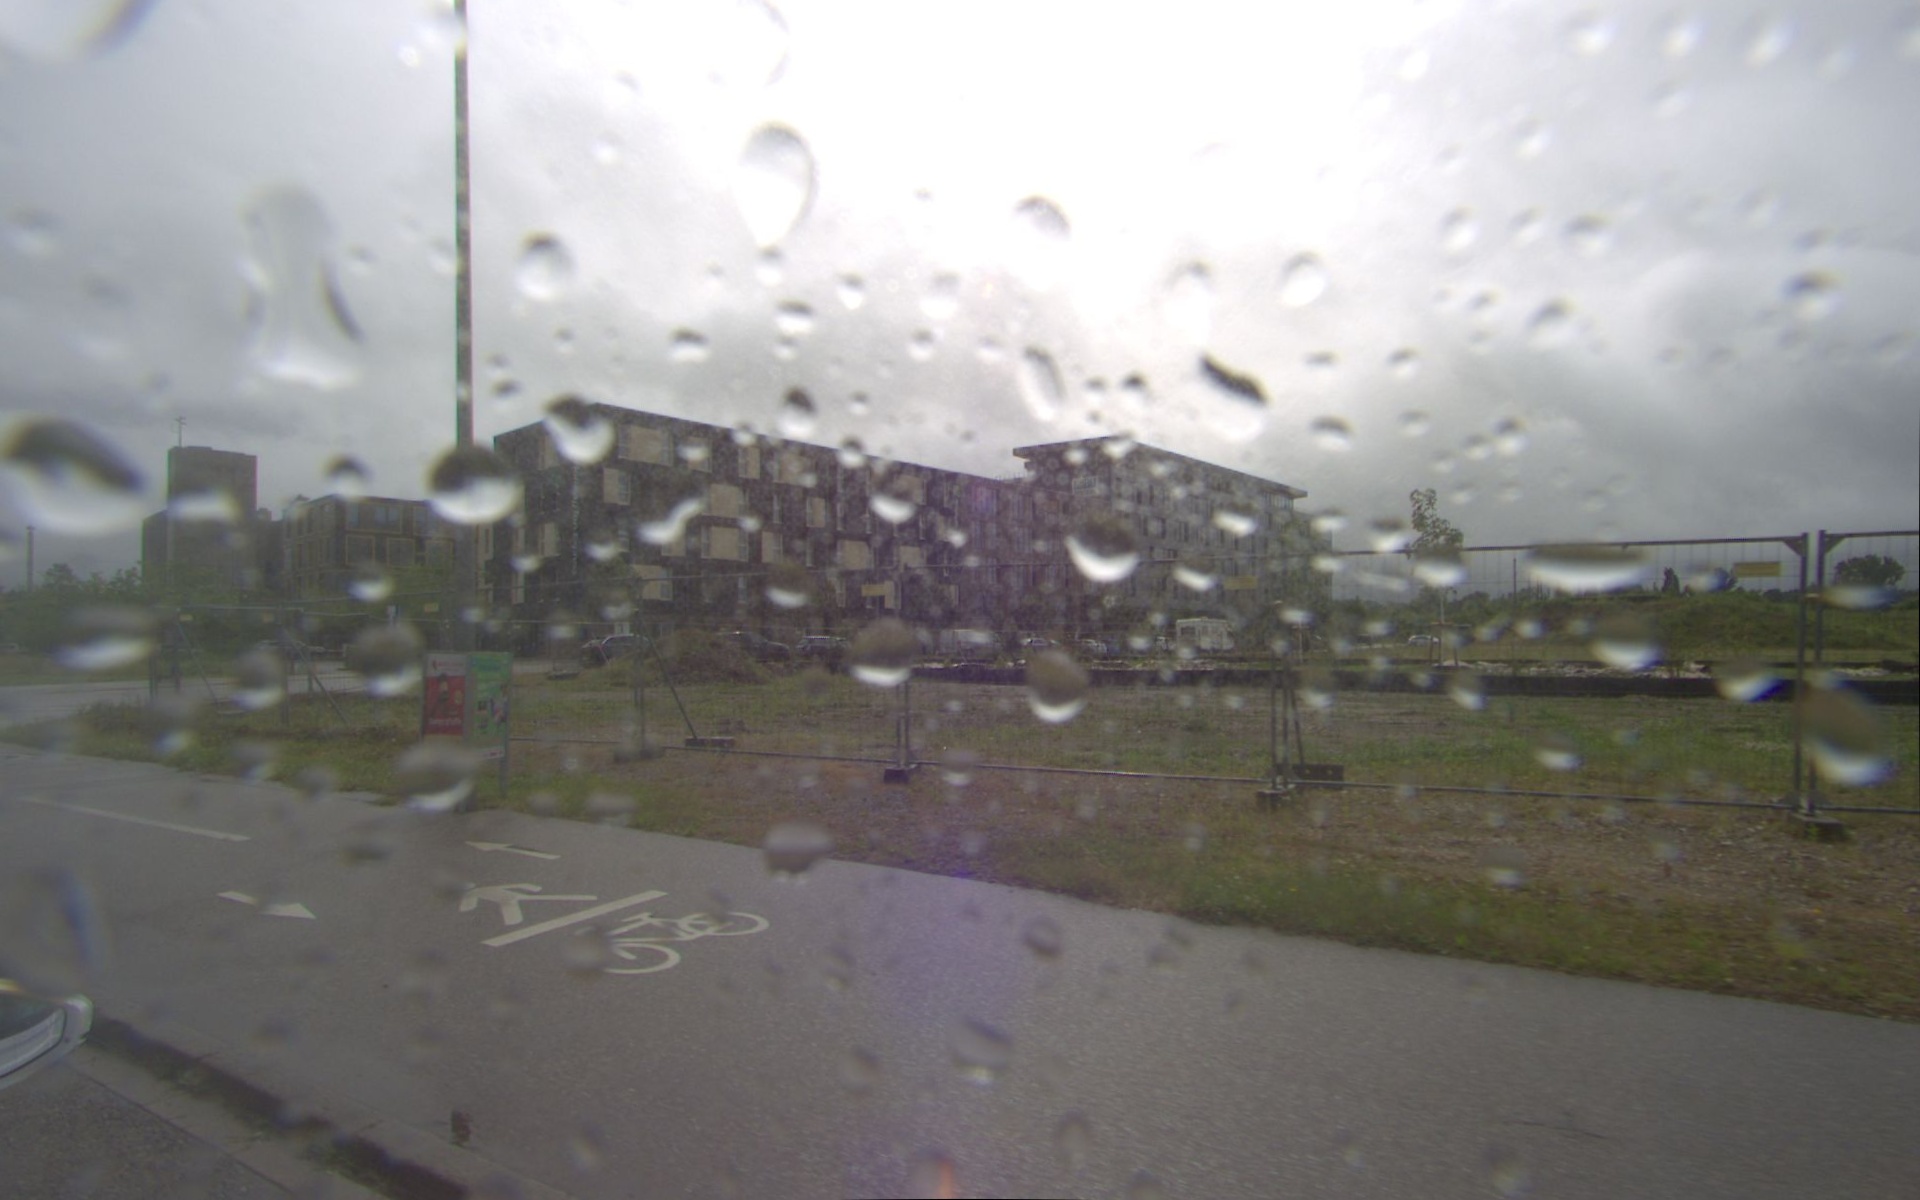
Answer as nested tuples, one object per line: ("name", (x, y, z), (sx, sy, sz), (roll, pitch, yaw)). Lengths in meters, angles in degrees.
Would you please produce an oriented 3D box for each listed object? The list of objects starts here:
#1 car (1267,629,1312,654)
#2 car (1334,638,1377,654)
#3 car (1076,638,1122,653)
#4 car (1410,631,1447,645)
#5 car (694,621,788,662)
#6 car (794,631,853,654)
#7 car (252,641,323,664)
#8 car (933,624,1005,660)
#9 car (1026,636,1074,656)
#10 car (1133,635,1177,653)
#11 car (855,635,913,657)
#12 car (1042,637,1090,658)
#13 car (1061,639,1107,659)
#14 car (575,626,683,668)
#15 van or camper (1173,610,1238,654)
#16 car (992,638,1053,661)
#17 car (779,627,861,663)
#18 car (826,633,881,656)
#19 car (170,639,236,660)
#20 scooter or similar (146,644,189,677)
("car", (30.198, 3.841, 91.730), (1.980, 2.037, 4.772), (-2, -6, 44))
("car", (46.149, 5.350, 116.839), (4.324, 1.707, 1.786), (-2, -6, 44))
("car", (12.465, 4.078, 89.971), (3.859, 1.311, 1.541), (-2, -5, 40))
("car", (59.050, 4.819, 126.228), (3.946, 1.750, 1.989), (-1, -2, 35))
("car", (-10.347, 1.997, 47.500), (1.975, 1.748, 3.978), (-1, -5, 37))
("car", (-8.943, 2.763, 65.454), (3.764, 1.412, 1.757), (-2, -5, 40))
("car", (-50.491, 3.918, 75.222), (1.650, 1.577, 4.180), (-2, -2, 44))
("car", (0.592, 2.583, 60.911), (1.978, 1.792, 4.309), (-1, -7, 41))
("car", (7.475, 3.825, 83.394), (3.798, 1.634, 1.538), (-2, -5, 40))
("car", (18.988, 4.320, 97.696), (3.798, 1.634, 1.774), (-2, -5, 40))
("car", (-5.277, 3.182, 69.182), (3.798, 1.412, 1.774), (-2, -5, 40))
("car", (9.029, 4.028, 85.306), (3.798, 1.634, 1.538), (-2, -5, 40))
("car", (10.849, 4.296, 87.934), (3.798, 1.634, 1.538), (-2, -5, 40))
("car", (-14.164, 2.019, 42.991), (1.976, 1.637, 3.974), (-5, -4, 37))
("van or camper", (20.595, 2.760, 83.768), (2.501, 3.239, 6.753), (-1, -5, 41))
("car", (4.076, 3.193, 64.879), (1.977, 1.432, 3.970), (-2, -3, 40))
("car", (-7.192, 2.330, 51.811), (1.975, 1.660, 3.978), (-1, -5, 37))
("car", (-7.205, 3.017, 67.525), (3.739, 1.413, 1.631), (-3, -5, 41))
("car", (-68.668, 4.480, 90.881), (1.980, 1.784, 4.517), (-2, -2, 44))
("scooter or similar", (-30.298, 2.304, 38.312), (0.493, 1.203, 1.283), (1, 0, 11))
